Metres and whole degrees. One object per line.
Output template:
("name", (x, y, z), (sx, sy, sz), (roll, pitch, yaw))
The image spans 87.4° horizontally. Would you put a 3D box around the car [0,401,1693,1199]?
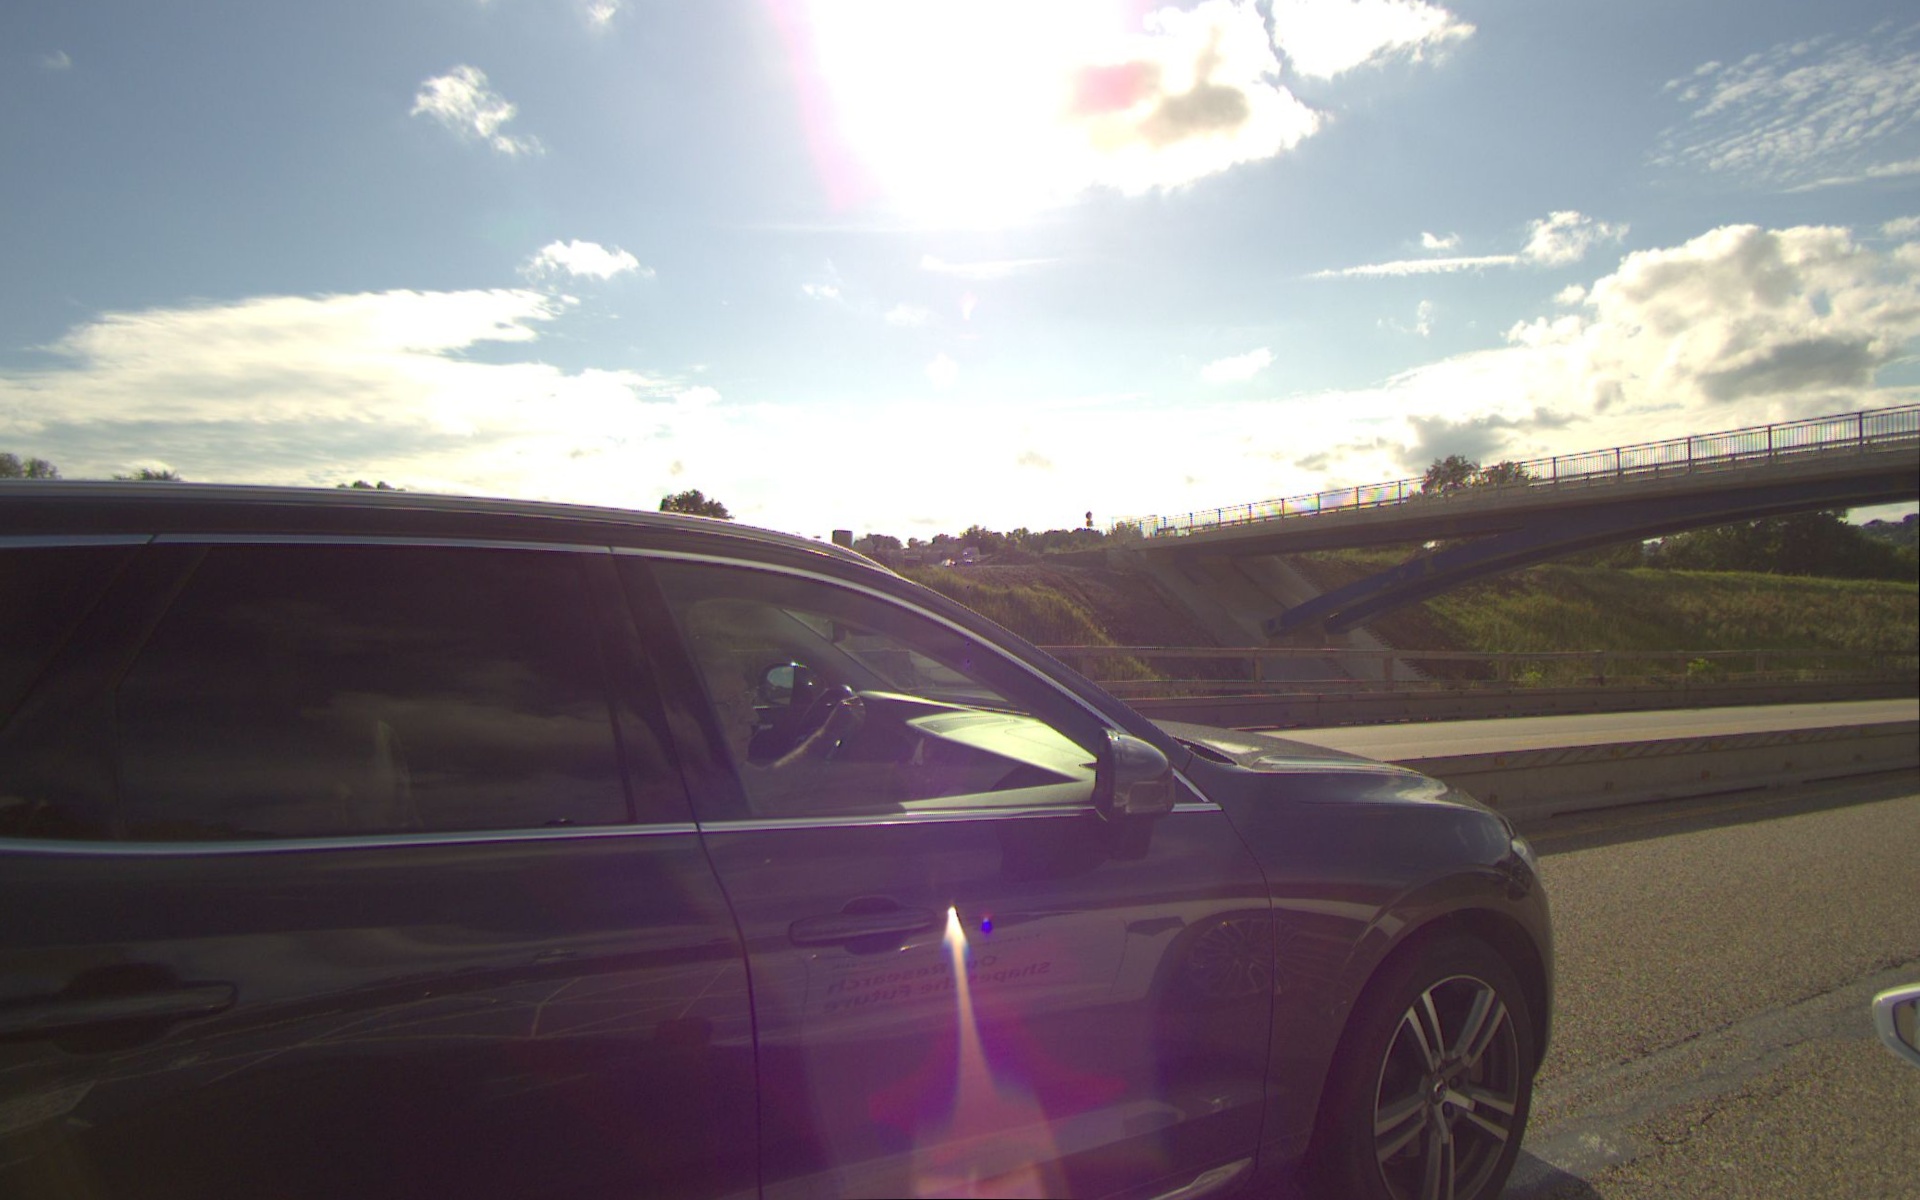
("car", (-0.525, 0.649, 2.422), (4.693, 1.646, 1.984), (1, -1, -30))
